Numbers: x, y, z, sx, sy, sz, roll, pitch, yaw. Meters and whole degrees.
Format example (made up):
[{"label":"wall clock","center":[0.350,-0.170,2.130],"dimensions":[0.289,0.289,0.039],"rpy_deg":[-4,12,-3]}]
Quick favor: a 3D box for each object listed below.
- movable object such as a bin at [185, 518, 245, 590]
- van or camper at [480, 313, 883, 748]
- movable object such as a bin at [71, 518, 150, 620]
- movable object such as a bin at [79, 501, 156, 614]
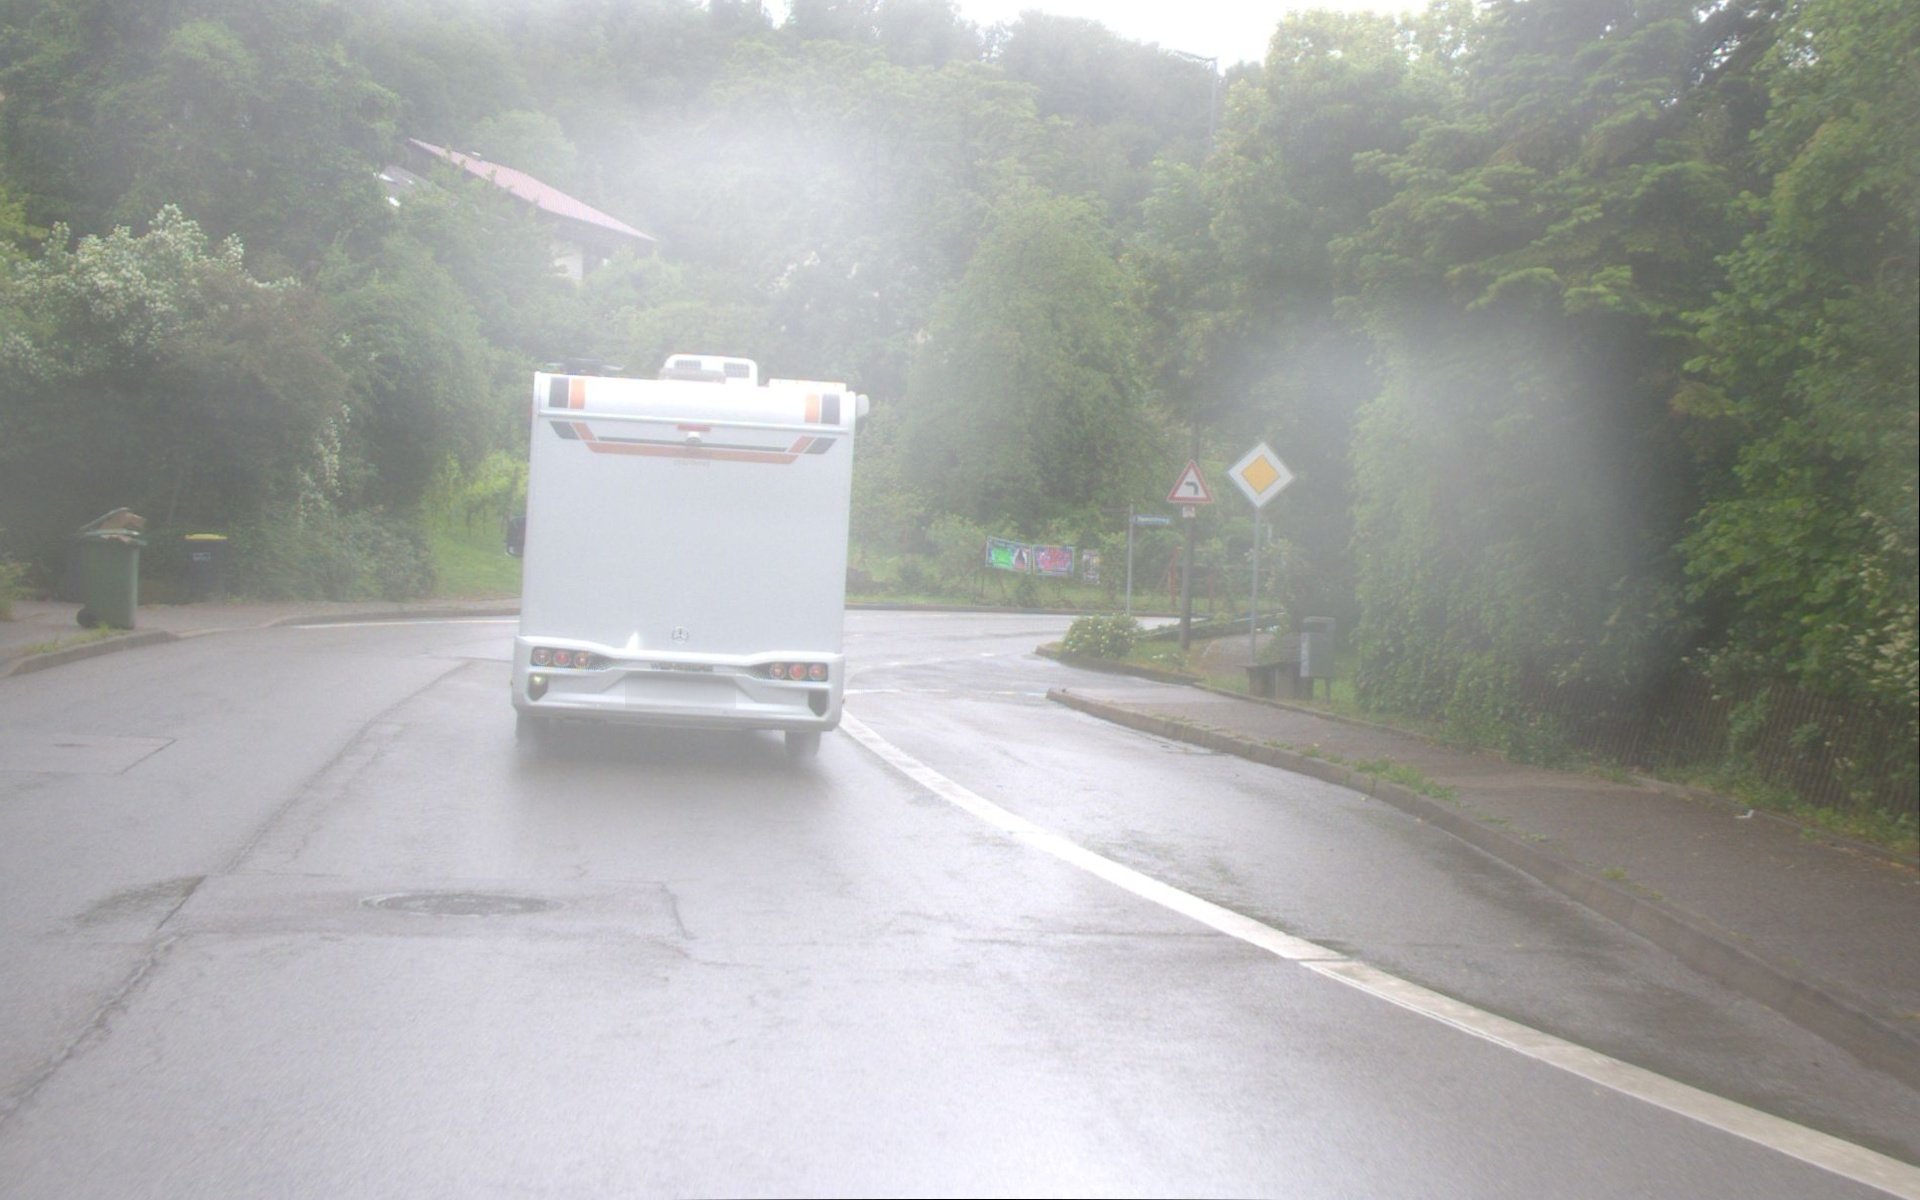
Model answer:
[{"label":"movable object such as a bin","center":[-10.950,-0.681,50.531],"dimensions":[0.755,1.019,0.744],"rpy_deg":[2,1,-6]},{"label":"van or camper","center":[-2.067,-0.439,26.270],"dimensions":[2.615,2.843,6.031],"rpy_deg":[2,-1,-4]},{"label":"movable object such as a bin","center":[-9.410,-0.348,38.098],"dimensions":[0.741,1.090,0.758],"rpy_deg":[2,1,-8]},{"label":"movable object such as a bin","center":[-9.569,-0.482,39.067],"dimensions":[0.741,1.249,0.758],"rpy_deg":[2,1,-8]}]
